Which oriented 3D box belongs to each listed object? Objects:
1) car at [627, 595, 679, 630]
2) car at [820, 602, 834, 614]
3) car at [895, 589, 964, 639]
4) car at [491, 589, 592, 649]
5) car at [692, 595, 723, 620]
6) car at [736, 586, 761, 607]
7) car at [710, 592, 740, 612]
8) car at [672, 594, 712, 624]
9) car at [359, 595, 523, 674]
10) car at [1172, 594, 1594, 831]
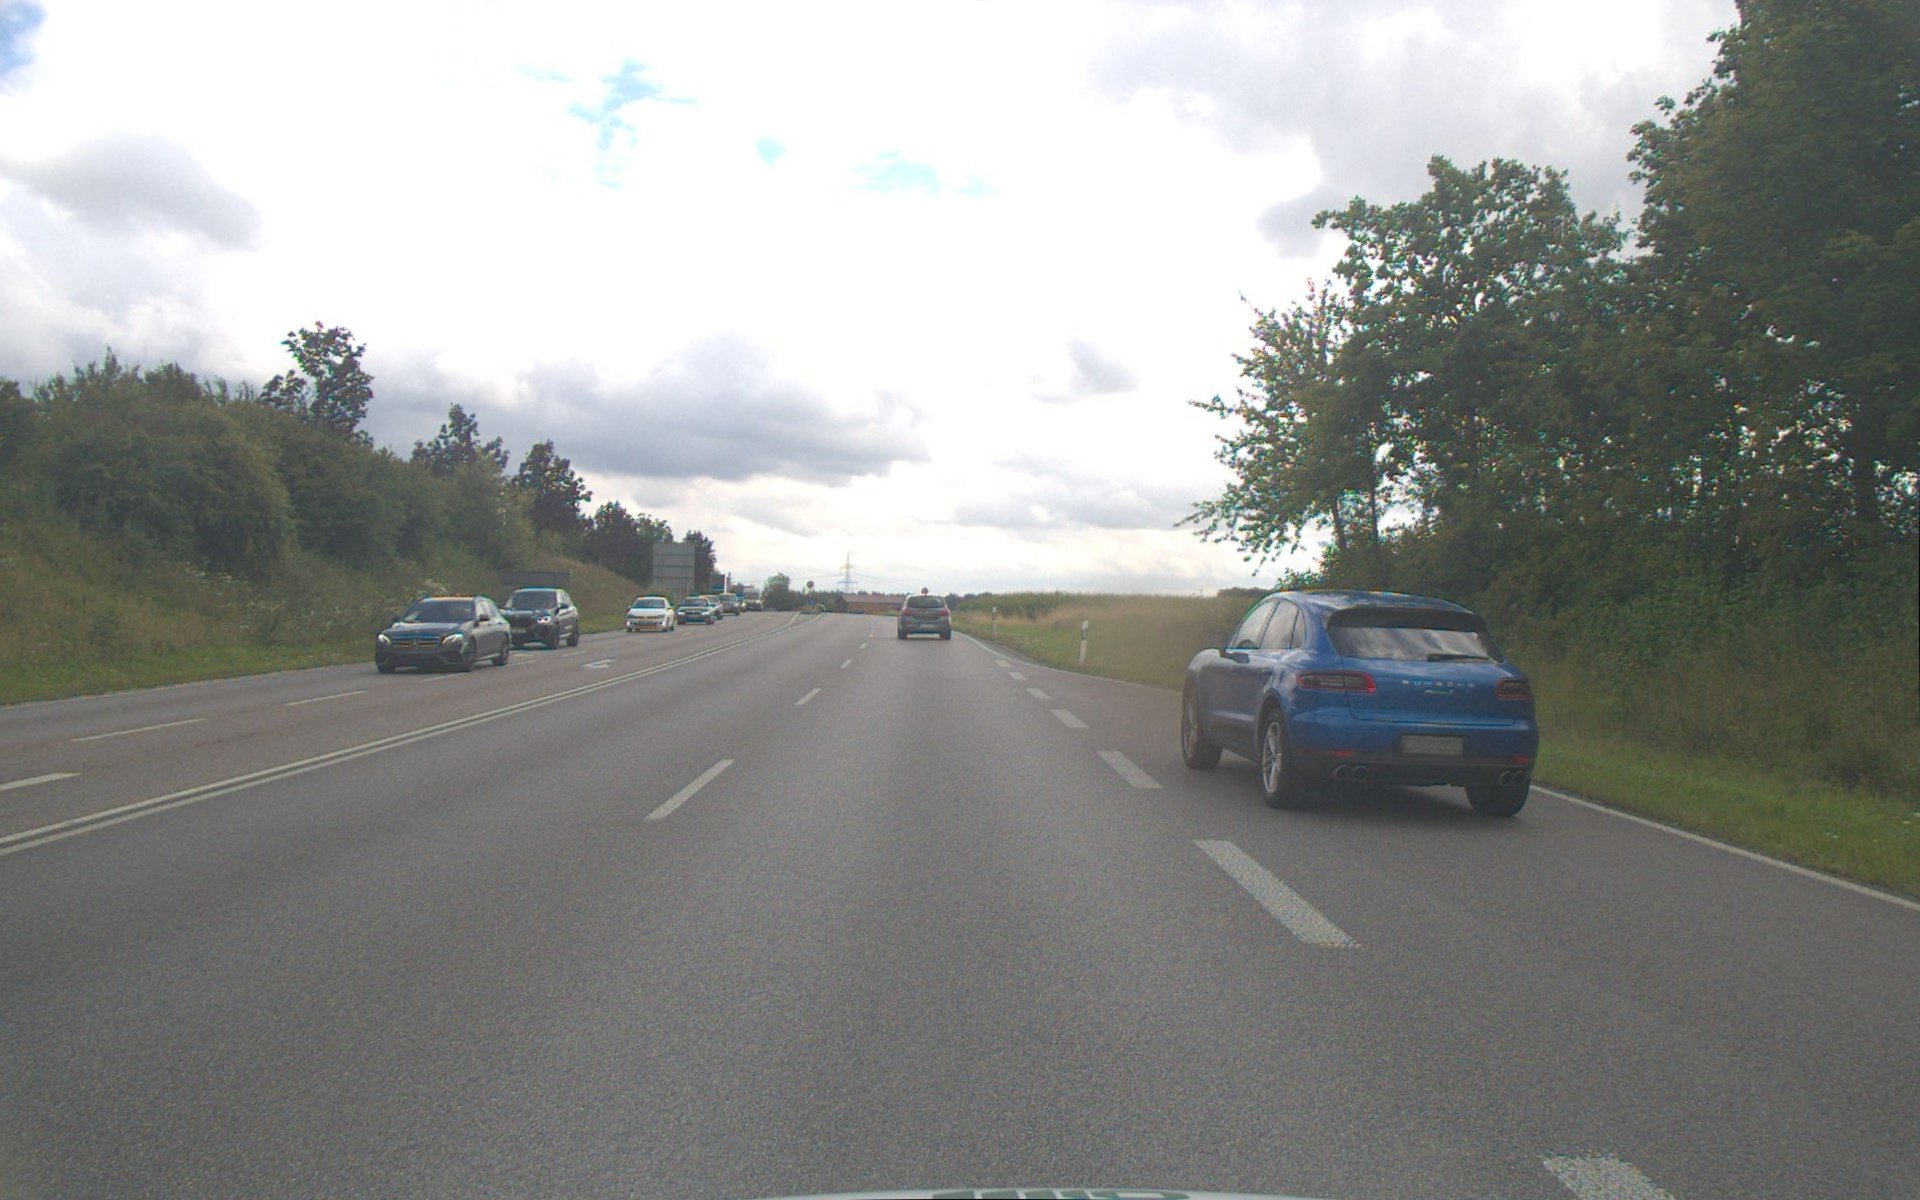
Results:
[{"bbox_3d":[-13.058,0.510,70.497,1.634,1.467,4.144,0,0,-3],"label":"car"},{"bbox_3d":[-20.462,1.232,253.992,1.953,1.745,3.998,0,0,-2],"label":"car"},{"bbox_3d":[-1.059,0.446,55.633,1.955,1.562,3.995,1,0,-6],"label":"car"},{"bbox_3d":[-12.054,0.519,47.929,1.954,1.639,4.989,0,0,-4],"label":"car"},{"bbox_3d":[-16.180,0.465,106.051,1.761,1.512,4.164,0,0,-6],"label":"car"},{"bbox_3d":[-22.542,-0.382,176.220,2.317,2.250,5.917,0,0,-5],"label":"car"},{"bbox_3d":[-18.148,0.153,127.605,1.954,1.534,3.997,0,0,-3],"label":"car"},{"bbox_3d":[-14.386,0.471,89.056,1.955,1.534,3.994,0,0,-7],"label":"car"},{"bbox_3d":[-10.698,0.654,34.495,1.953,1.520,4.991,0,0,-1],"label":"car"},{"bbox_3d":[3.192,0.751,13.611,1.954,1.598,4.752,0,0,-4],"label":"car"}]
